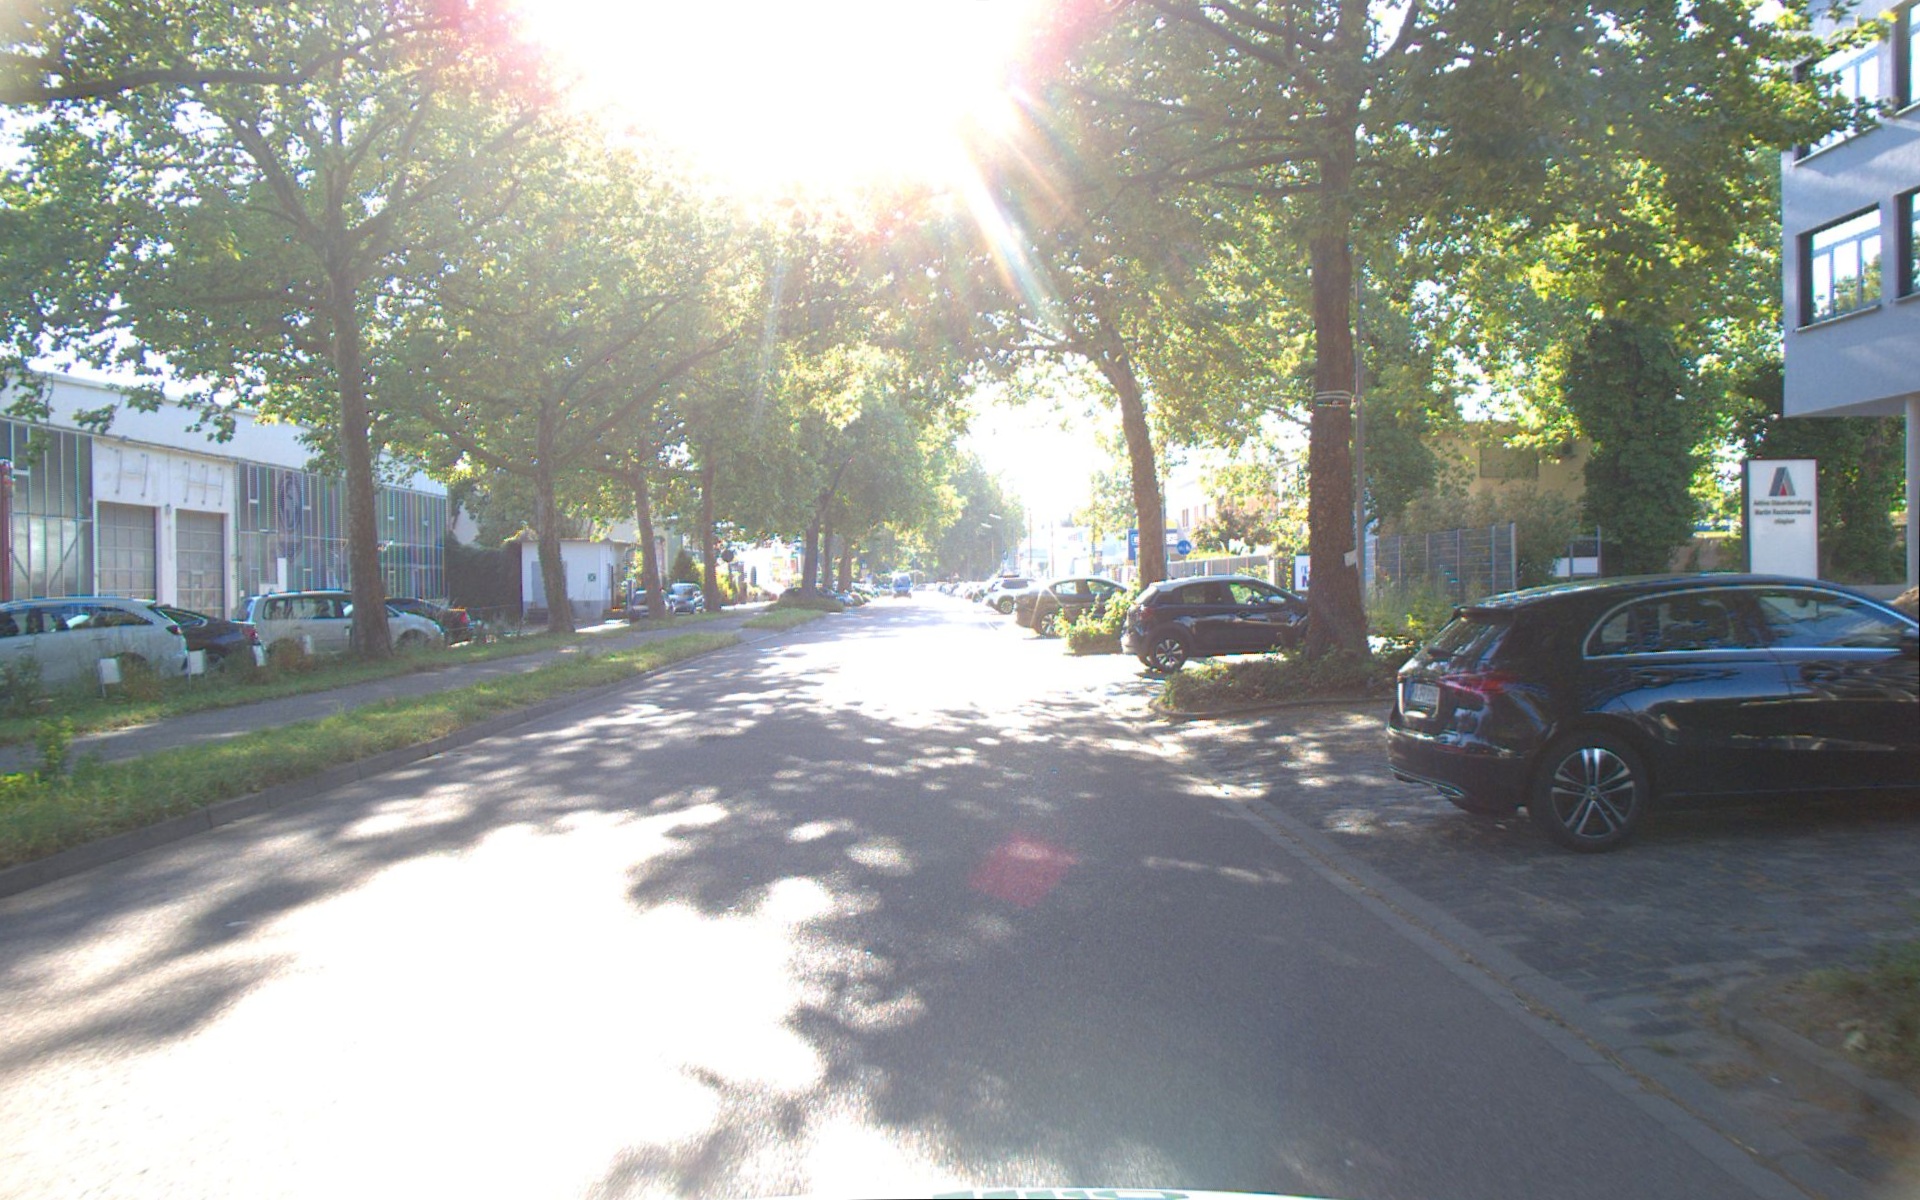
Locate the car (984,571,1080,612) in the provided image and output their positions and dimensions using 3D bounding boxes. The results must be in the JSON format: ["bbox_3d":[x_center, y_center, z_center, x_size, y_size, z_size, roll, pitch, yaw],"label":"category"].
[{"bbox_3d":[3.534,-0.427,81.730,4.533,1.741,1.999,-4,0,-3],"label":"car"}]

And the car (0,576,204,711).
[{"bbox_3d":[-12.764,0.553,22.322,1.965,1.729,4.236,1,0,42],"label":"car"}]

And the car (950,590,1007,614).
[{"bbox_3d":[1.513,0.167,134.514,4.509,1.641,1.999,-3,0,-2],"label":"car"}]

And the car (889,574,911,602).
[{"bbox_3d":[-6.041,-1.235,167.168,2.084,2.706,7.000,-1,1,-1],"label":"car"}]

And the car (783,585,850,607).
[{"bbox_3d":[-9.977,-0.271,115.225,4.507,1.447,2.000,0,1,-2],"label":"car"}]

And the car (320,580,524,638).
[{"bbox_3d":[-13.367,0.180,41.229,4.447,1.328,1.969,-1,1,-43],"label":"car"}]

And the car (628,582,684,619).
[{"bbox_3d":[-13.235,0.020,72.130,1.956,1.393,3.916,-5,1,-6],"label":"car"}]

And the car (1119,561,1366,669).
[{"bbox_3d":[4.673,0.239,27.763,3.710,1.512,1.860,-4,0,-3],"label":"car"}]

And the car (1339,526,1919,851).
[{"bbox_3d":[4.613,0.411,9.797,4.199,1.511,1.860,-4,0,-3],"label":"car"}]

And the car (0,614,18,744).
[{"bbox_3d":[-13.211,0.893,18.683,4.221,1.477,1.972,1,0,-39],"label":"car"}]

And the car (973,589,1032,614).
[{"bbox_3d":[3.314,0.113,129.396,4.506,1.607,2.000,-3,0,1],"label":"car"}]

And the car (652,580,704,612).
[{"bbox_3d":[-14.890,-0.213,87.396,1.952,1.603,4.273,1,0,0],"label":"car"}]

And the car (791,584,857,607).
[{"bbox_3d":[-8.969,-0.297,109.293,4.267,1.447,1.999,0,1,-4],"label":"car"}]

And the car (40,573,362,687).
[{"bbox_3d":[-11.968,0.452,26.290,1.964,1.658,4.238,1,0,41],"label":"car"}]

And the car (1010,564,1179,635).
[{"bbox_3d":[3.797,-0.016,47.202,4.480,1.745,1.941,-3,0,-5],"label":"car"}]

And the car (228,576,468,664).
[{"bbox_3d":[-13.061,0.422,35.434,4.439,1.761,1.973,1,0,-39],"label":"car"}]

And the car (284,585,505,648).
[{"bbox_3d":[-12.997,0.342,38.157,4.447,1.328,1.969,-1,1,-43],"label":"car"}]
